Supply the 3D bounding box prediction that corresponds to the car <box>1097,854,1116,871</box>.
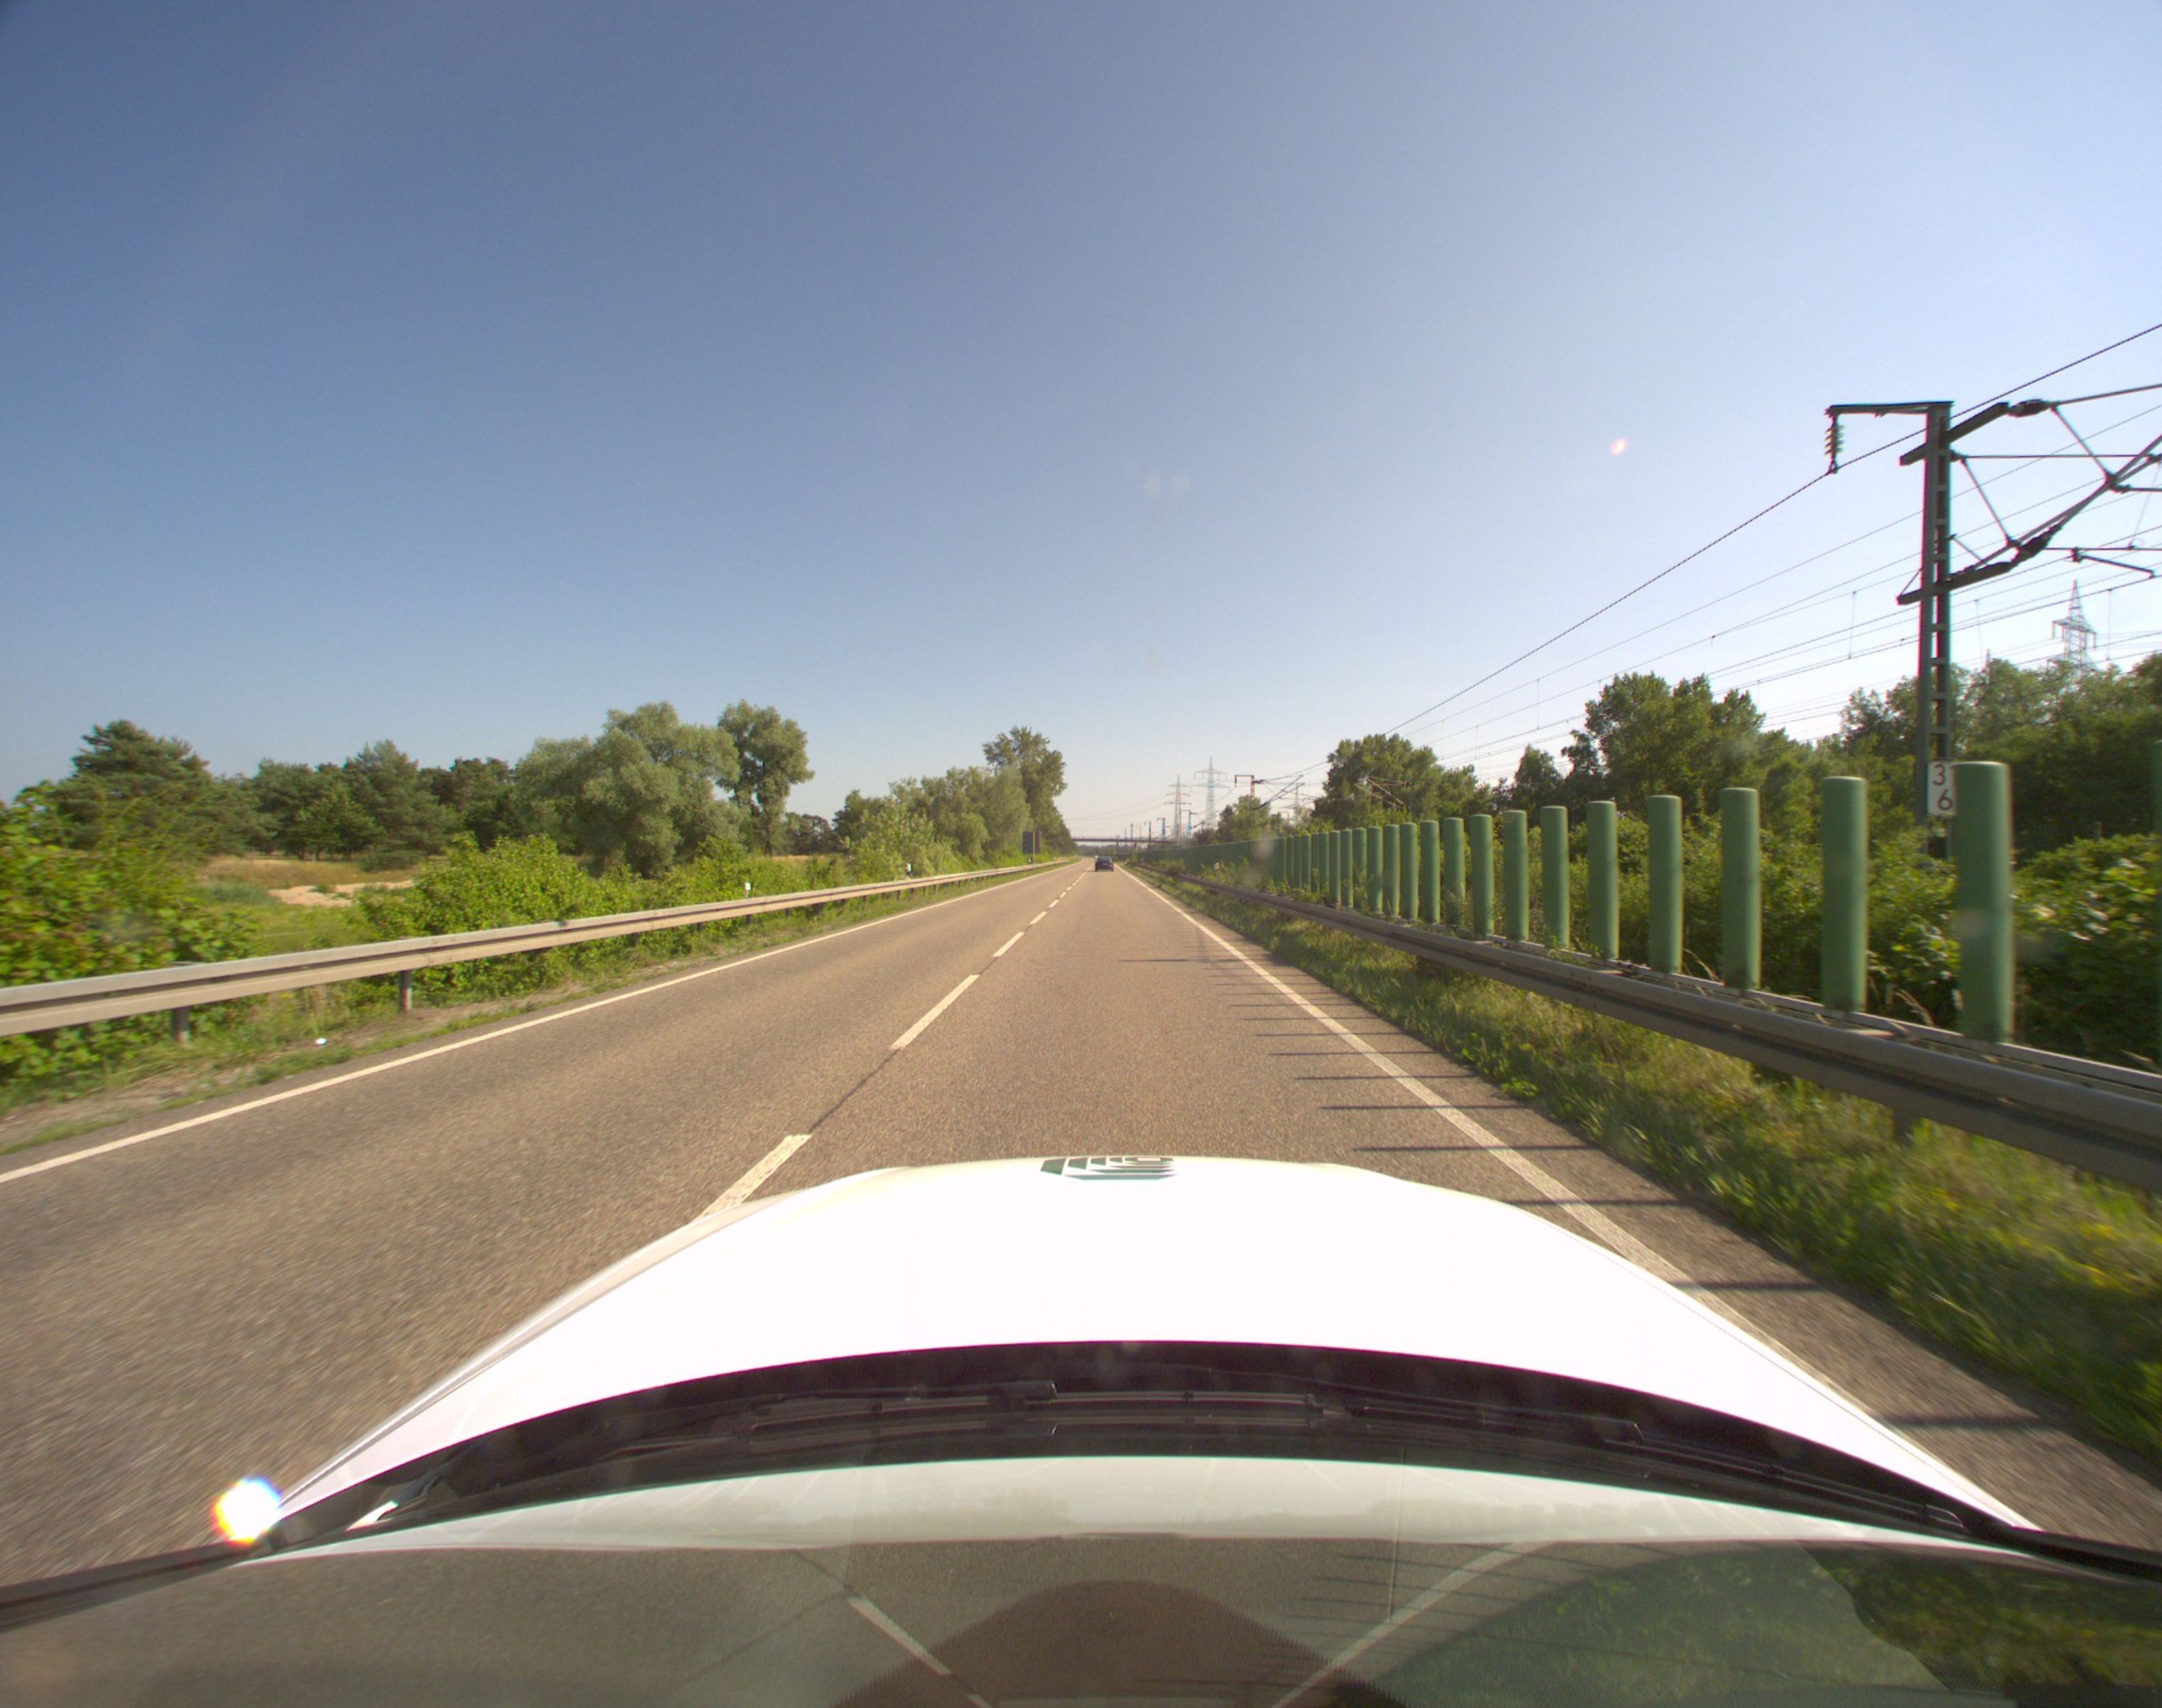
[{"bbox_3d":[2.500,0.824,80.921,1.852,1.642,4.000,0,0,1],"label":"car"}]
